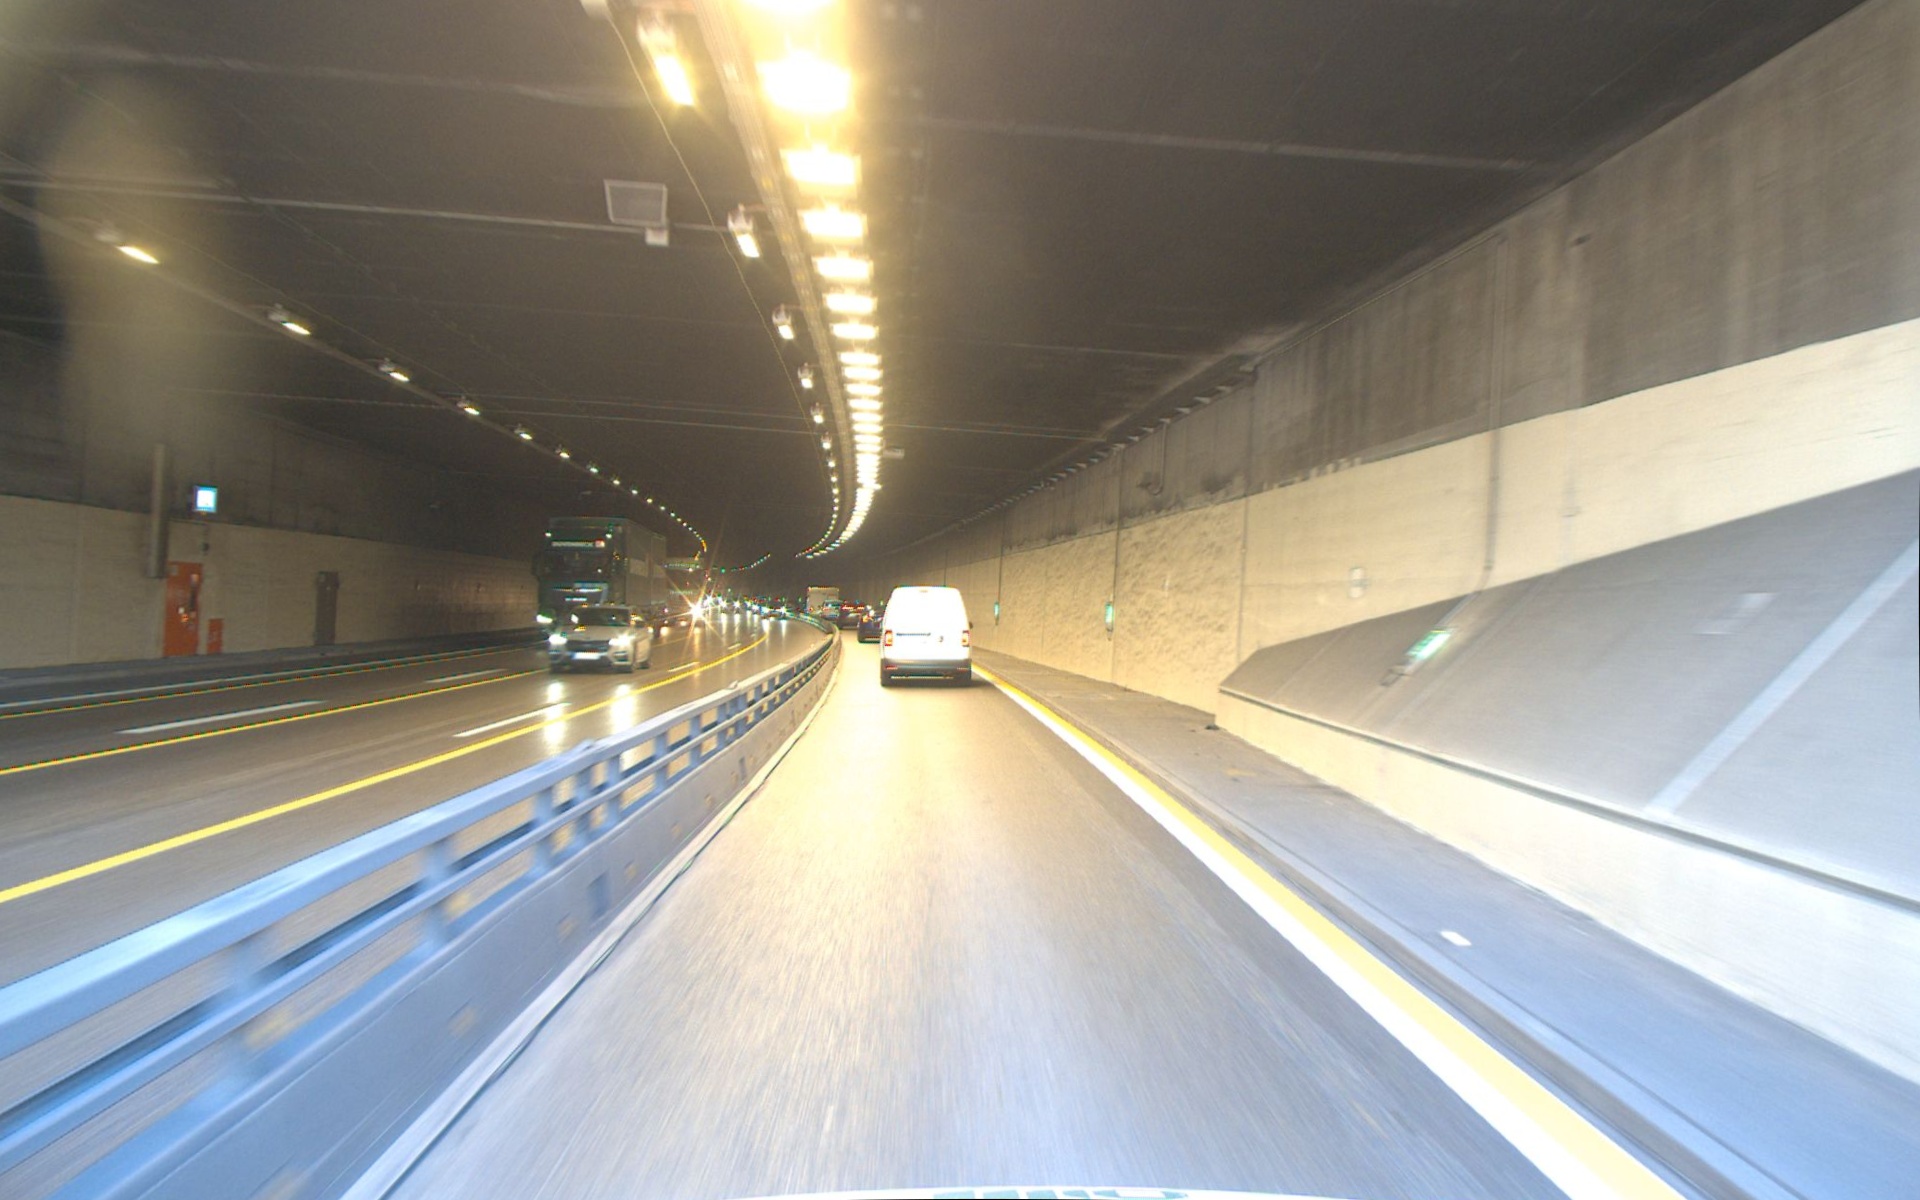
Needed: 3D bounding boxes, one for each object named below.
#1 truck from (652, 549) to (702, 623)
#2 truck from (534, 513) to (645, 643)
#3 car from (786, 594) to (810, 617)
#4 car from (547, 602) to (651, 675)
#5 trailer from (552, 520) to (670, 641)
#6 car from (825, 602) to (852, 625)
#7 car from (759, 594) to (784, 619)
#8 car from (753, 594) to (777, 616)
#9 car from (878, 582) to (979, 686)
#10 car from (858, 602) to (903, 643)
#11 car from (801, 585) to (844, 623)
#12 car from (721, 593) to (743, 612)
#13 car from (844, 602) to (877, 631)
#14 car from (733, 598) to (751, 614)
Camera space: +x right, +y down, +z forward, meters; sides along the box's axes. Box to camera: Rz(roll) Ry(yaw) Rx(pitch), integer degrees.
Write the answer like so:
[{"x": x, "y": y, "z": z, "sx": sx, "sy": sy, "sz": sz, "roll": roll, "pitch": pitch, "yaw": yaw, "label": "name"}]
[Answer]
[{"x": -16.717, "y": -0.815, "z": 97.980, "sx": 2.609, "sy": 4.215, "sz": 5.347, "roll": 1, "pitch": 0, "yaw": -7, "label": "truck"}, {"x": -12.026, "y": -0.660, "z": 54.189, "sx": 2.756, "sy": 3.984, "sz": 6.447, "roll": 1, "pitch": 0, "yaw": -6, "label": "truck"}, {"x": -16.419, "y": 0.560, "z": 167.370, "sx": 1.998, "sy": 2.056, "sz": 4.622, "roll": 5, "pitch": -1, "yaw": -9, "label": "car"}, {"x": -7.775, "y": 0.792, "z": 35.940, "sx": 1.786, "sy": 1.482, "sz": 4.087, "roll": 1, "pitch": 0, "yaw": -7, "label": "car"}, {"x": -12.903, "y": -0.632, "z": 62.537, "sx": 2.759, "sy": 3.970, "sz": 15.439, "roll": 1, "pitch": 0, "yaw": -6, "label": "trailer"}, {"x": -8.403, "y": 0.927, "z": 114.129, "sx": 1.569, "sy": 1.573, "sz": 3.670, "roll": 1, "pitch": 0, "yaw": -9, "label": "car"}, {"x": -14.886, "y": 0.502, "z": 130.605, "sx": 1.775, "sy": 1.887, "sz": 5.058, "roll": 1, "pitch": 0, "yaw": -8, "label": "car"}, {"x": -18.602, "y": 0.472, "z": 157.466, "sx": 1.892, "sy": 1.880, "sz": 4.349, "roll": 0, "pitch": 2, "yaw": -12, "label": "car"}, {"x": -0.584, "y": 0.649, "z": 31.937, "sx": 1.772, "sy": 1.825, "sz": 3.730, "roll": 2, "pitch": -1, "yaw": 0, "label": "car"}, {"x": -3.168, "y": 0.877, "z": 65.399, "sx": 1.567, "sy": 1.573, "sz": 3.673, "roll": 1, "pitch": 0, "yaw": -6, "label": "car"}, {"x": -10.963, "y": 0.344, "z": 131.429, "sx": 2.762, "sy": 2.821, "sz": 7.086, "roll": -3, "pitch": 0, "yaw": -9, "label": "car"}, {"x": -22.198, "y": 0.250, "z": 160.866, "sx": 1.776, "sy": 1.839, "sz": 5.053, "roll": 1, "pitch": 0, "yaw": -11, "label": "car"}, {"x": -5.577, "y": 0.914, "z": 92.142, "sx": 1.568, "sy": 1.573, "sz": 3.671, "roll": 1, "pitch": 0, "yaw": -8, "label": "car"}, {"x": -24.842, "y": 0.640, "z": 188.393, "sx": 1.776, "sy": 1.748, "sz": 5.053, "roll": 1, "pitch": 0, "yaw": -11, "label": "car"}]
